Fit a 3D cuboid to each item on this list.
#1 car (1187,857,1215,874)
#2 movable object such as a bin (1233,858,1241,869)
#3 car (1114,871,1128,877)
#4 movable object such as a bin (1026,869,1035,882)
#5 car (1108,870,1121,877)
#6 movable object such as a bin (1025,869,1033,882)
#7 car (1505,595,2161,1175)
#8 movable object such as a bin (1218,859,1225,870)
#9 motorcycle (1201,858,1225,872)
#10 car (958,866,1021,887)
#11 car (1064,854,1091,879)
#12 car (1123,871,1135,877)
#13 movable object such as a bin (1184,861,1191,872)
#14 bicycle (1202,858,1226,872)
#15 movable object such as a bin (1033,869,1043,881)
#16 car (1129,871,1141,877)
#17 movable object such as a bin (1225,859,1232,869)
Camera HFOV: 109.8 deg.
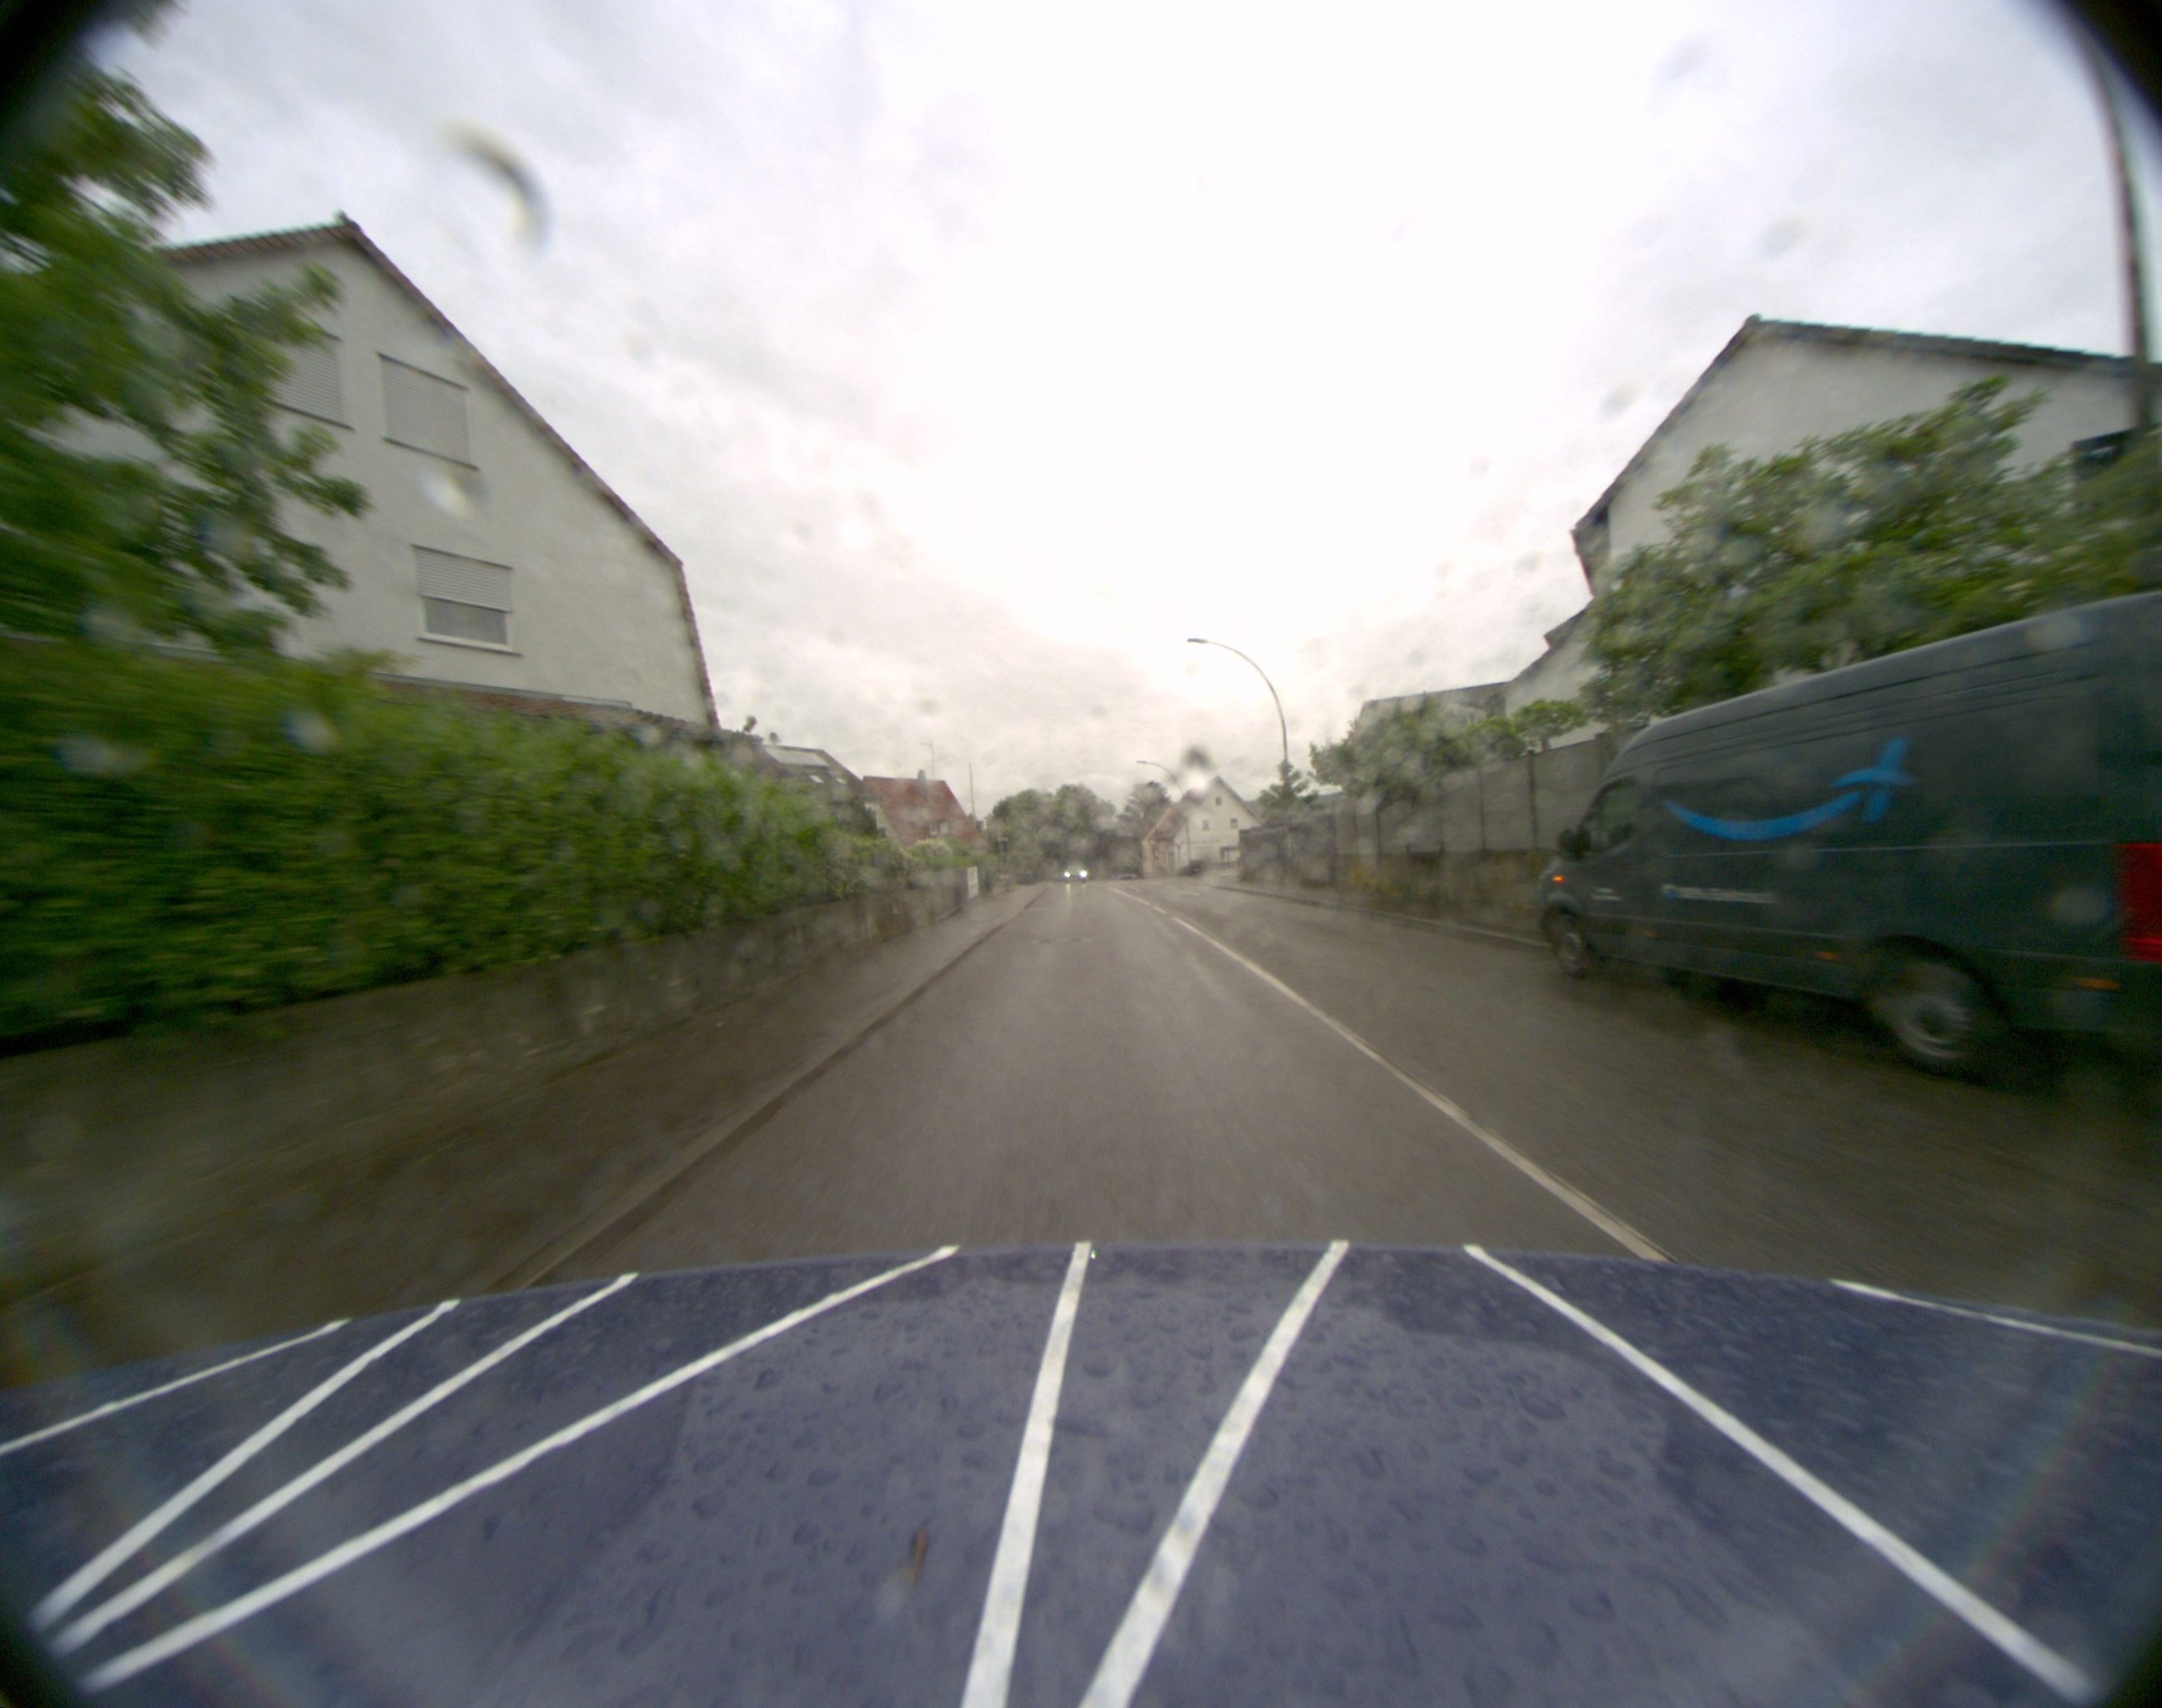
[{"bbox_3d":[11.196,1.068,70.922,1.904,1.433,3.834,-5,-2,18],"label":"car"},{"bbox_3d":[15.486,0.928,75.383,0.639,1.026,0.605,-6,-1,12],"label":"movable object such as a bin"},{"bbox_3d":[9.189,4.567,173.962,1.996,1.410,4.492,-2,-2,19],"label":"car"},{"bbox_3d":[-4.103,1.745,62.190,0.628,1.015,0.541,-2,-1,5],"label":"movable object such as a bin"},{"bbox_3d":[7.426,4.387,168.651,1.792,1.523,3.806,-2,-2,19],"label":"car"},{"bbox_3d":[-4.359,1.793,63.575,0.443,1.015,0.525,-2,-1,27],"label":"movable object such as a bin"},{"bbox_3d":[6.038,0.077,6.020,2.099,2.633,5.919,-5,0,2],"label":"car"},{"bbox_3d":[14.031,1.035,75.882,0.639,1.026,0.605,-2,-1,13],"label":"movable object such as a bin"},{"bbox_3d":[12.775,1.080,73.500,2.113,1.107,0.781,-7,0,16],"label":"motorcycle"},{"bbox_3d":[-7.342,1.786,60.921,4.563,1.375,2.003,-5,-2,19],"label":"car"},{"bbox_3d":[-0.329,1.124,66.199,1.999,2.001,3.999,-3,-1,-3],"label":"car"},{"bbox_3d":[11.352,4.690,179.763,1.761,1.410,4.160,-2,-2,20],"label":"car"},{"bbox_3d":[10.754,1.254,76.732,0.639,1.026,0.674,-2,-1,13],"label":"movable object such as a bin"},{"bbox_3d":[12.981,1.063,74.210,2.101,1.107,0.738,-6,0,16],"label":"bicycle"},{"bbox_3d":[-3.600,1.775,63.872,0.530,1.015,0.734,-2,-1,19],"label":"movable object such as a bin"},{"bbox_3d":[13.129,4.773,184.798,1.761,1.410,4.160,-2,-2,18],"label":"car"},{"bbox_3d":[14.704,1.006,75.704,0.639,1.026,0.605,-2,-1,13],"label":"movable object such as a bin"}]
